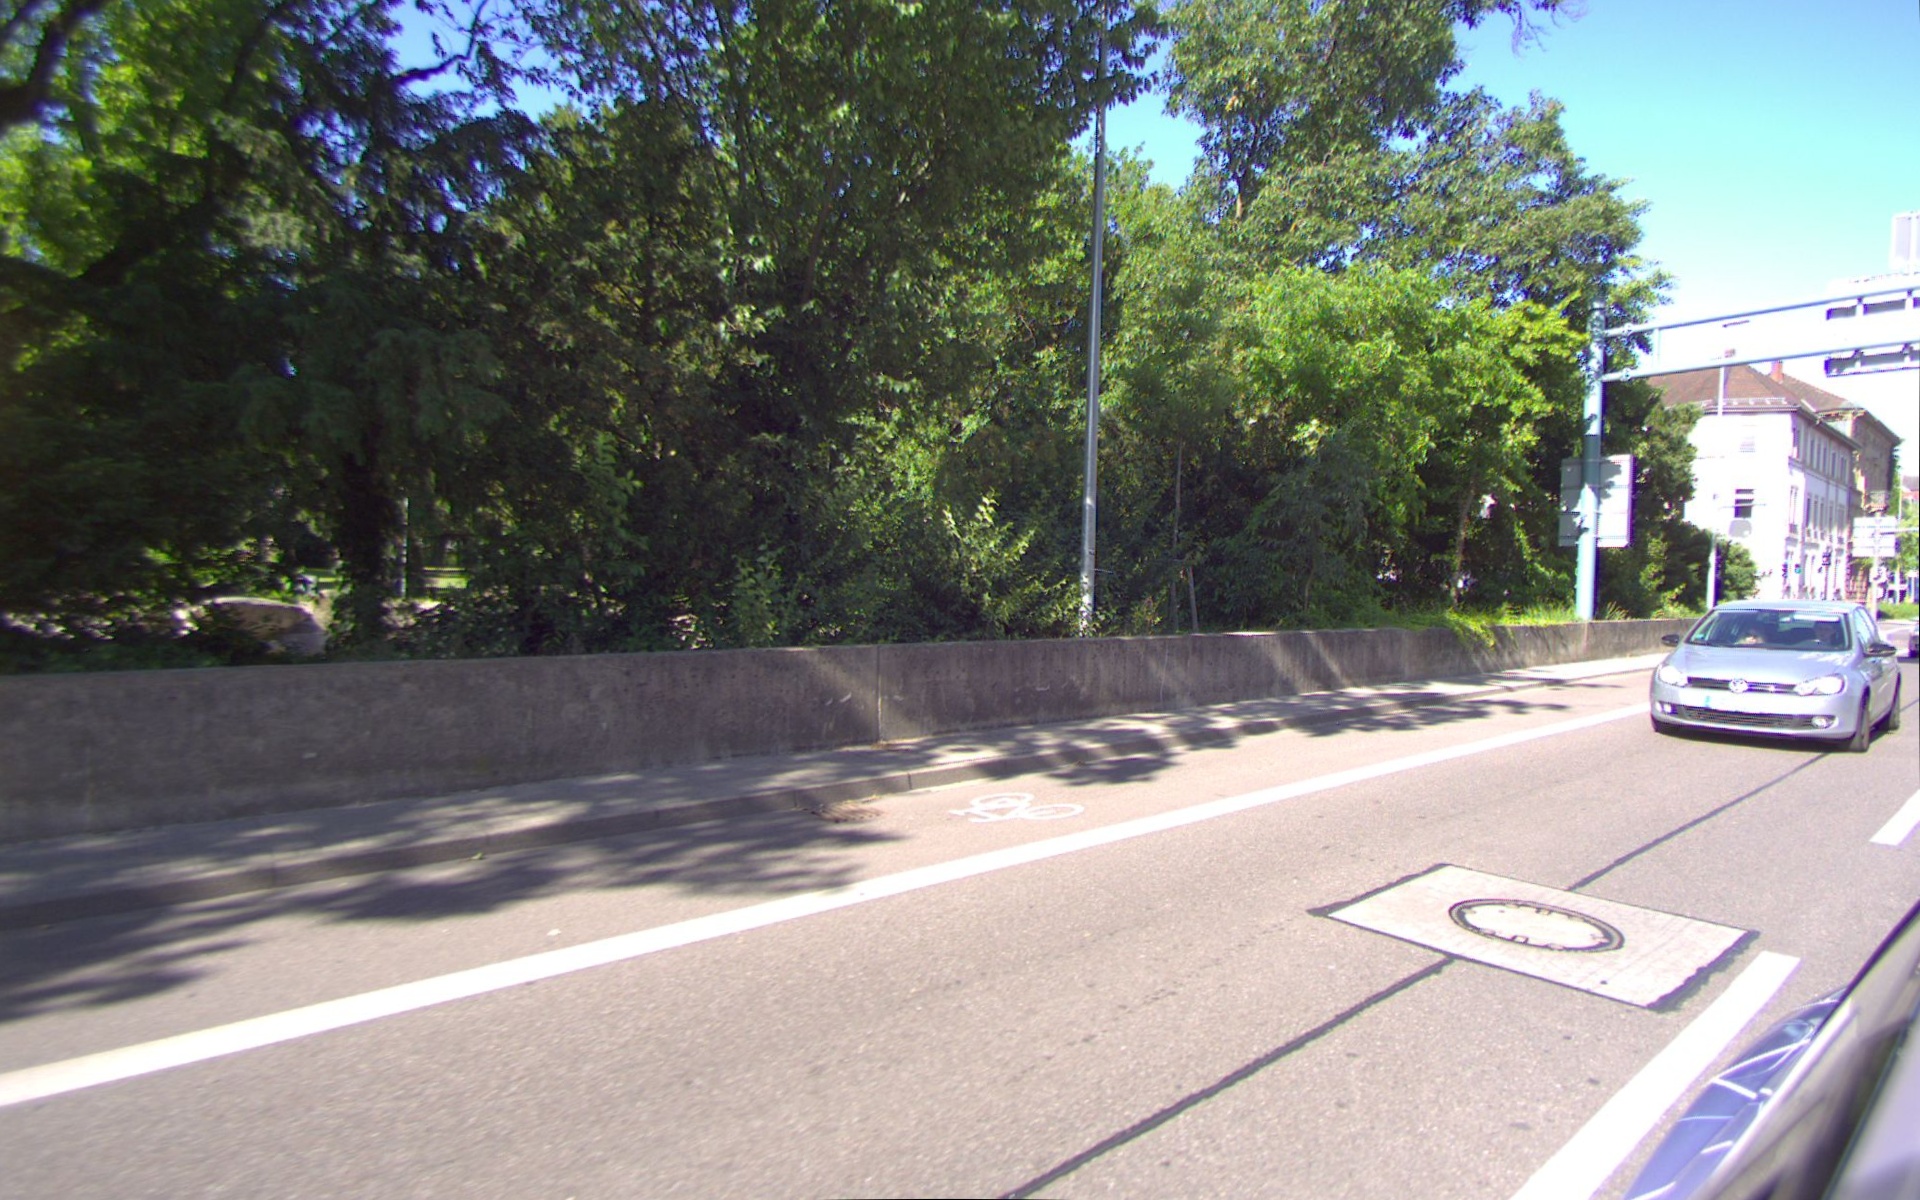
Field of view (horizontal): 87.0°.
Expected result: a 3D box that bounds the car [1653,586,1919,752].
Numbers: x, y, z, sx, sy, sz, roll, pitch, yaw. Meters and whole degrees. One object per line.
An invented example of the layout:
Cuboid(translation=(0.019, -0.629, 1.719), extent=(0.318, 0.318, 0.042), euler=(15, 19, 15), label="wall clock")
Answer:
Cuboid(translation=(9.218, 0.609, 11.156), extent=(3.931, 1.492, 1.701), euler=(0, 1, -42), label="car")

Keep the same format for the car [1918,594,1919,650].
Cuboid(translation=(26.578, 0.569, 26.499), extent=(3.931, 1.441, 1.837), euler=(0, 1, -42), label="car")
